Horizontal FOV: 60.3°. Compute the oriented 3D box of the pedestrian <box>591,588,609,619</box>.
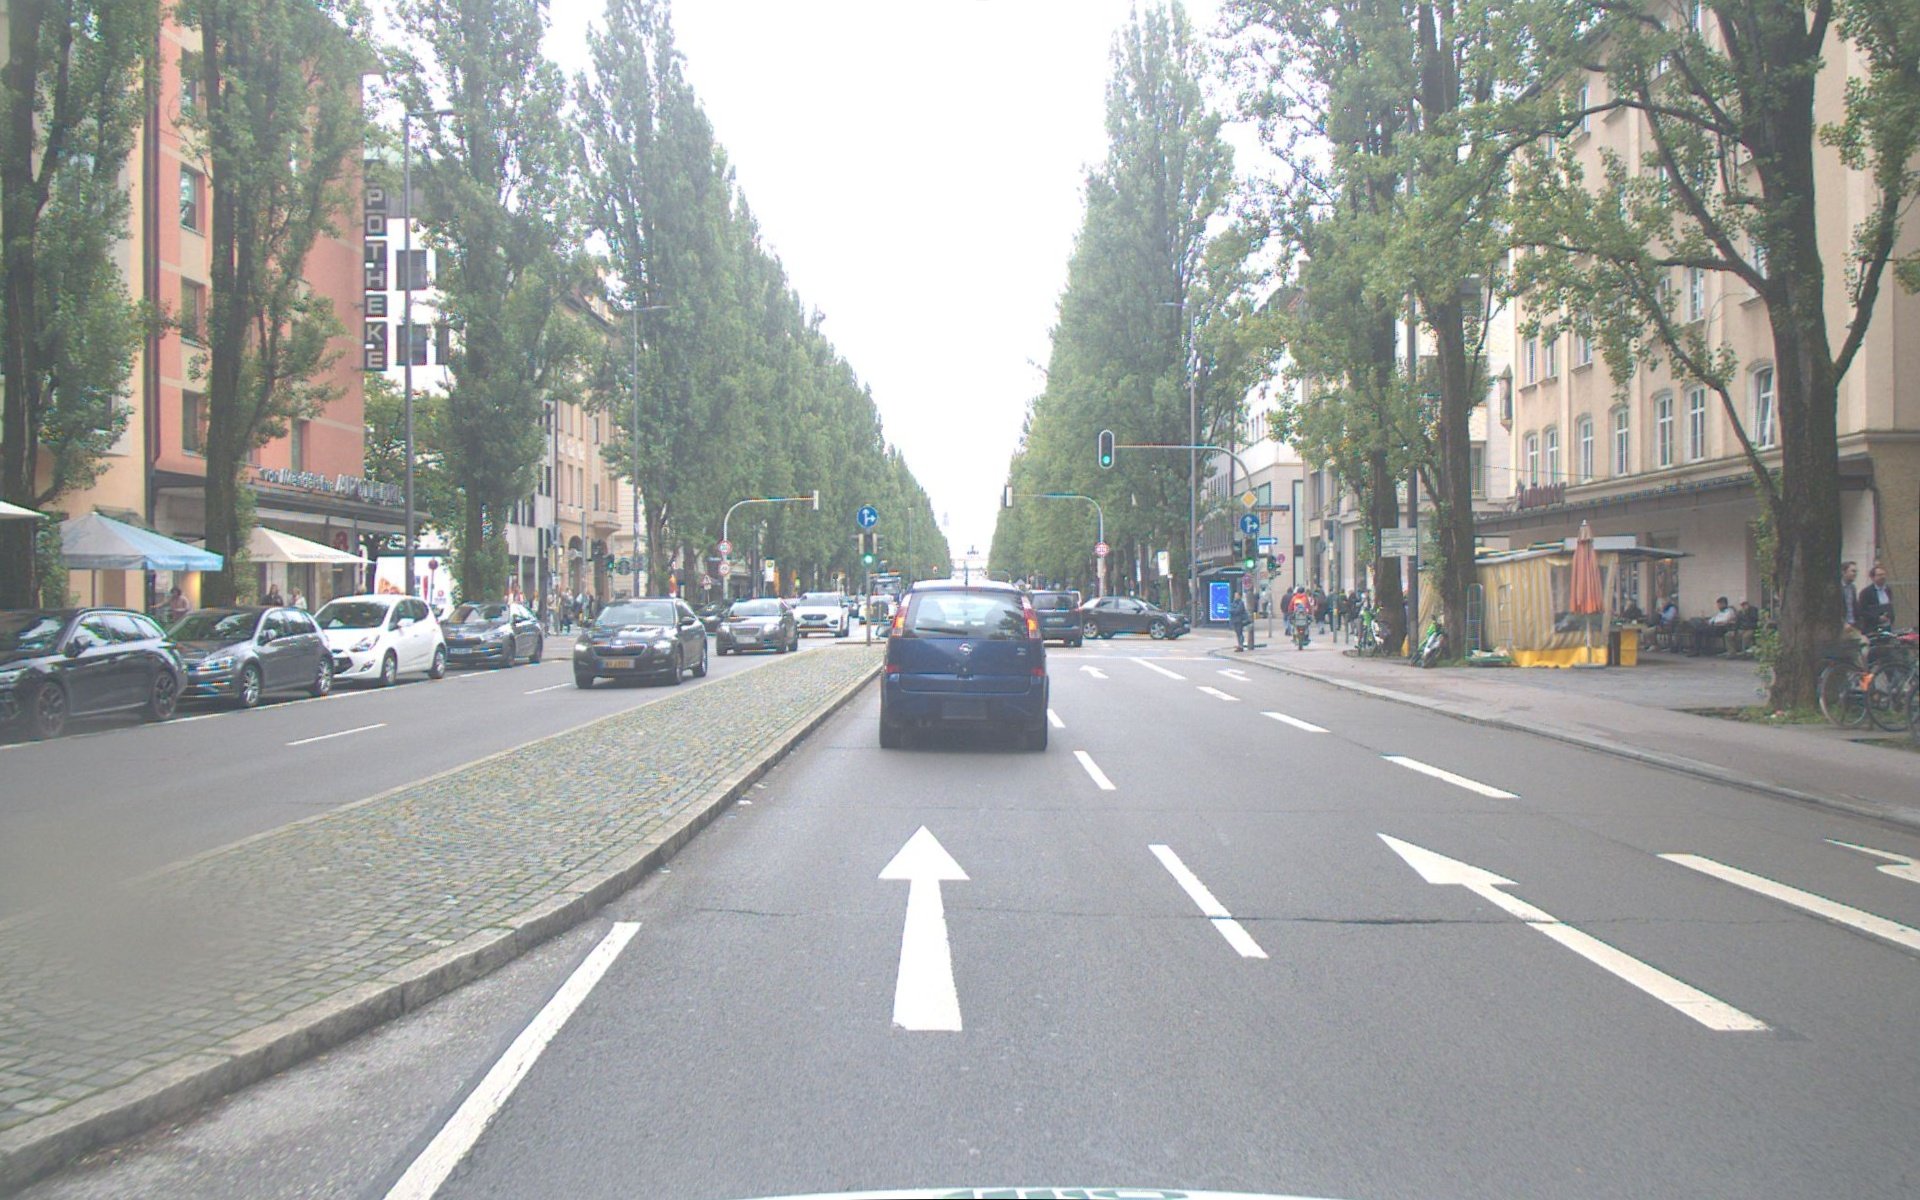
[{"bbox_3d":[-18.827,0.176,86.483,0.762,1.647,0.934,0,0,0],"label":"pedestrian"}]

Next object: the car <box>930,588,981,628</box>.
[{"bbox_3d":[-0.173,0.282,65.495,1.953,1.523,4.000,1,0,0],"label":"car"}]

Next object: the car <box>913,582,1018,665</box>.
[{"bbox_3d":[0.093,0.425,32.872,1.953,1.524,4.000,0,0,0],"label":"car"}]

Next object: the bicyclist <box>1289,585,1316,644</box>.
[{"bbox_3d":[9.484,0.394,45.810,0.608,1.616,0.481,-1,0,0],"label":"bicyclist"}]

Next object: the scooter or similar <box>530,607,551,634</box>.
[{"bbox_3d":[-17.707,0.864,69.873,0.797,1.112,0.274,1,-1,-4],"label":"scooter or similar"}]

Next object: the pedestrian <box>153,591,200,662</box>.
[{"bbox_3d":[-19.067,0.634,40.268,0.764,1.697,0.802,0,0,0],"label":"pedestrian"}]

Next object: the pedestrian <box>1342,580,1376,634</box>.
[{"bbox_3d":[13.176,0.234,54.610,0.661,1.732,0.847,1,-3,-44],"label":"pedestrian"}]

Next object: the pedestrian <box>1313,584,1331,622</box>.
[{"bbox_3d":[17.138,0.129,78.253,0.734,1.788,0.711,0,0,2],"label":"pedestrian"}]

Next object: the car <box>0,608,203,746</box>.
[{"bbox_3d":[-10.823,0.839,19.550,1.668,1.437,4.434,-2,0,0],"label":"car"}]

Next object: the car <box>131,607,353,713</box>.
[{"bbox_3d":[-10.646,0.834,24.836,1.463,1.406,4.186,-2,0,0],"label":"car"}]

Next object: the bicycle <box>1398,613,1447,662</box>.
[{"bbox_3d":[9.776,0.783,35.020,0.498,0.992,1.770,1,0,-1],"label":"bicycle"}]

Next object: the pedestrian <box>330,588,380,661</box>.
[{"bbox_3d":[-15.514,0.632,42.450,0.720,1.827,0.993,1,-1,18],"label":"pedestrian"}]

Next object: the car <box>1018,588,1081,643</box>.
[{"bbox_3d":[2.652,0.436,49.926,1.671,1.601,4.000,0,0,0],"label":"car"}]

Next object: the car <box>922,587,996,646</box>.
[{"bbox_3d":[-0.036,0.423,45.718,1.953,1.523,4.000,1,0,0],"label":"car"}]

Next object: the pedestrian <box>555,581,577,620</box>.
[{"bbox_3d":[-18.488,0.020,77.576,0.783,1.818,0.912,1,0,1],"label":"pedestrian"}]

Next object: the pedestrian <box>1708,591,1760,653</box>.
[{"bbox_3d":[16.228,0.451,34.692,0.759,1.286,0.699,0,0,1],"label":"pedestrian"}]

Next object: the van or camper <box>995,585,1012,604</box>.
[{"bbox_3d":[6.306,-0.764,240.149,2.426,2.626,5.844,-1,0,1],"label":"van or camper"}]

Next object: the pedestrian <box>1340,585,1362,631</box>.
[{"bbox_3d":[15.465,0.324,65.465,0.694,1.788,0.752,1,0,2],"label":"pedestrian"}]

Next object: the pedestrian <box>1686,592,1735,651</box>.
[{"bbox_3d":[16.500,0.475,36.389,0.759,1.286,0.699,0,0,1],"label":"pedestrian"}]

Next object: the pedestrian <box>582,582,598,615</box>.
[{"bbox_3d":[-20.681,-0.086,92.438,0.684,1.818,0.820,1,0,2],"label":"pedestrian"}]

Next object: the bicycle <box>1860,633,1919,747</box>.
[{"bbox_3d":[9.526,0.885,15.870,0.425,1.080,2.000,0,0,-9],"label":"bicycle"}]

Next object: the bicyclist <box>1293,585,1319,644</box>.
[{"bbox_3d":[9.485,0.392,45.372,0.608,1.616,0.391,-1,0,0],"label":"bicyclist"}]

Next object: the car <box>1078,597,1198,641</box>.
[{"bbox_3d":[6.376,0.658,59.262,3.909,1.486,1.758,1,0,26],"label":"car"}]

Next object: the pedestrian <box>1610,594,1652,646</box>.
[{"bbox_3d":[16.727,0.500,41.225,0.759,1.286,0.699,0,0,1],"label":"pedestrian"}]

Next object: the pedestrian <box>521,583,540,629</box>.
[{"bbox_3d":[-16.329,0.231,62.905,0.574,1.720,0.514,1,0,0],"label":"pedestrian"}]

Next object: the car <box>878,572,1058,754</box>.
[{"bbox_3d":[0.062,0.577,17.314,1.647,1.670,4.000,1,0,-1],"label":"car"}]

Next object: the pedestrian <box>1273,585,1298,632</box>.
[{"bbox_3d":[13.007,0.342,66.098,0.801,1.849,0.890,0,0,-1],"label":"pedestrian"}]

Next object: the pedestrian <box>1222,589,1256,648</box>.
[{"bbox_3d":[7.747,0.506,45.884,0.750,1.638,0.864,0,0,-4],"label":"pedestrian"}]

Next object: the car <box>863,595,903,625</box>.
[{"bbox_3d":[-4.076,0.516,88.234,1.806,1.528,4.986,-1,0,0],"label":"car"}]

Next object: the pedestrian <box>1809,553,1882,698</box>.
[{"bbox_3d":[12.449,0.349,23.272,0.642,2.005,0.722,-1,0,3],"label":"pedestrian"}]

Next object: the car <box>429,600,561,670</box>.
[{"bbox_3d":[-10.520,0.756,37.759,1.668,1.463,4.590,-2,0,0],"label":"car"}]

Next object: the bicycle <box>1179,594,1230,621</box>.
[{"bbox_3d":[11.608,0.356,78.589,2.295,1.274,0.633,0,0,0],"label":"bicycle"}]

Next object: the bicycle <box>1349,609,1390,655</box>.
[{"bbox_3d":[9.819,0.757,39.694,0.498,1.066,1.770,1,0,-1],"label":"bicycle"}]

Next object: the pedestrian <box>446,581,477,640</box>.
[{"bbox_3d":[-15.440,0.310,51.242,0.709,1.802,0.778,1,0,1],"label":"pedestrian"}]

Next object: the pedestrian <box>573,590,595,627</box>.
[{"bbox_3d":[-16.694,0.379,73.492,0.735,1.594,0.989,1,0,-1],"label":"pedestrian"}]

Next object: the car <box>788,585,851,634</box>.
[{"bbox_3d":[-5.095,0.320,60.596,1.805,1.664,4.576,-2,0,1],"label":"car"}]

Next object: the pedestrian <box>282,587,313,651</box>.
[{"bbox_3d":[-18.205,0.525,45.451,0.543,1.748,0.692,0,0,0],"label":"pedestrian"}]

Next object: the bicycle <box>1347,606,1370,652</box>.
[{"bbox_3d":[10.060,0.727,41.719,0.396,1.088,1.812,5,1,16],"label":"bicycle"}]

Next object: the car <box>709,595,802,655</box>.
[{"bbox_3d":[-5.220,0.607,42.757,1.798,1.385,4.176,-2,0,1],"label":"car"}]

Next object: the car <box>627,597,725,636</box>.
[{"bbox_3d":[-11.280,0.648,65.747,3.635,1.501,1.763,0,0,-19],"label":"car"}]

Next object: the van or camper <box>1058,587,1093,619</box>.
[{"bbox_3d":[7.218,0.175,103.479,1.830,1.916,4.903,0,0,0],"label":"van or camper"}]

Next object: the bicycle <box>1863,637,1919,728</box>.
[{"bbox_3d":[10.780,0.898,17.921,1.961,0.961,0.285,1,0,-8],"label":"bicycle"}]

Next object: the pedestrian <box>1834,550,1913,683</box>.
[{"bbox_3d":[13.144,0.229,23.811,0.643,1.883,0.906,0,0,2],"label":"pedestrian"}]

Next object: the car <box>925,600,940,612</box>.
[{"bbox_3d":[-3.705,0.797,226.128,1.895,1.651,4.336,-2,0,0],"label":"car"}]

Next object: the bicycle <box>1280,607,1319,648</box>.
[{"bbox_3d":[9.484,0.746,46.304,0.614,1.106,2.263,-1,0,0],"label":"bicycle"}]

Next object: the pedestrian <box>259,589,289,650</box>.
[{"bbox_3d":[-18.753,0.528,45.220,0.543,1.667,0.692,0,0,0],"label":"pedestrian"}]

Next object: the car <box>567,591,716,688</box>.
[{"bbox_3d":[-5.435,0.642,28.681,1.720,1.491,4.050,-2,0,1],"label":"car"}]

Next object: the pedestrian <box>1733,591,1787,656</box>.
[{"bbox_3d":[16.200,0.469,33.484,0.759,1.286,0.699,0,0,1],"label":"pedestrian"}]

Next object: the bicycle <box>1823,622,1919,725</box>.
[{"bbox_3d":[10.535,0.816,18.288,1.961,1.102,0.285,1,-1,-8],"label":"bicycle"}]

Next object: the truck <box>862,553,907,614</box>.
[{"bbox_3d":[-4.792,-1.037,105.969,2.412,3.734,8.440,0,0,0],"label":"truck"}]

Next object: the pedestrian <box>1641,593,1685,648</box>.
[{"bbox_3d":[16.601,0.488,39.061,0.759,1.286,0.699,0,0,1],"label":"pedestrian"}]

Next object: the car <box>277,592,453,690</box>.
[{"bbox_3d":[-10.714,0.703,30.099,1.668,1.611,4.096,-2,0,0],"label":"car"}]

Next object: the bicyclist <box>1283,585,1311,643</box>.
[{"bbox_3d":[9.478,0.397,46.518,0.608,1.616,0.753,-1,0,0],"label":"bicyclist"}]

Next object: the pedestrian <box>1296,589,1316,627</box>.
[{"bbox_3d":[16.345,0.356,78.080,0.734,1.788,1.017,0,0,2],"label":"pedestrian"}]
